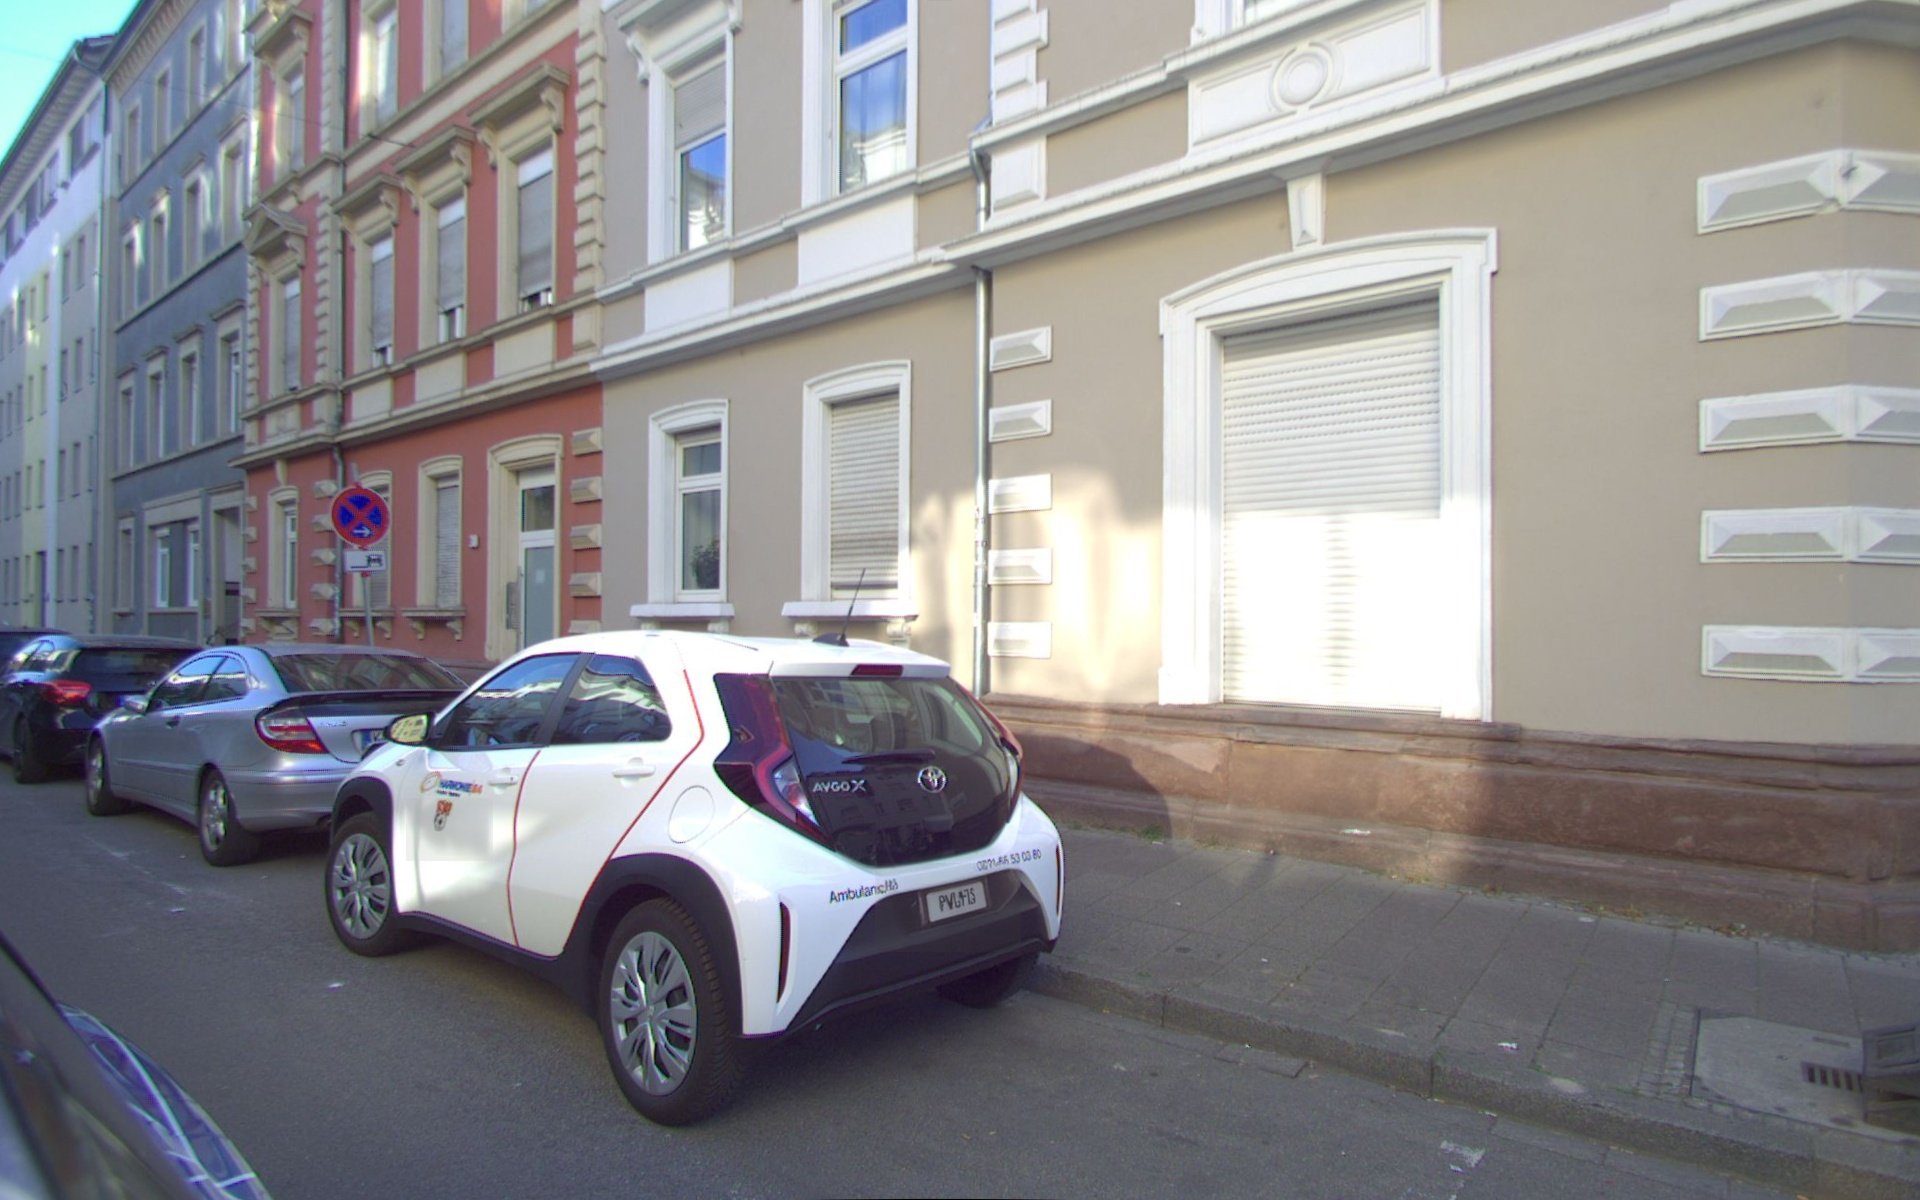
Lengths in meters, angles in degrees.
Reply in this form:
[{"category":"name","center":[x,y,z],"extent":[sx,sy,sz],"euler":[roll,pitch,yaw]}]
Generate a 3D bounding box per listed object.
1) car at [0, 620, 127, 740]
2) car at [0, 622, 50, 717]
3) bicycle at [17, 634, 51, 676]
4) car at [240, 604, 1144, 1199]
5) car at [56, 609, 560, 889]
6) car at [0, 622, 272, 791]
[{"category":"car","center":[-14.056,1.117,14.841],"extent":[4.234,1.572,1.883],"euler":[-2,-4,38]},{"category":"car","center":[-17.835,1.184,17.823],"extent":[4.260,1.572,1.902],"euler":[-2,-4,38]},{"category":"bicycle","center":[-25.670,1.509,28.044],"extent":[1.750,1.082,0.446],"euler":[-1,-1,39]},{"category":"car","center":[-1.502,0.871,4.670],"extent":[4.263,1.519,1.901],"euler":[-2,-4,40]},{"category":"car","center":[-5.144,0.935,7.795],"extent":[4.260,1.572,1.902],"euler":[-2,-4,38]},{"category":"car","center":[-9.436,1.041,11.061],"extent":[4.260,1.495,1.902],"euler":[-2,-4,38]}]
